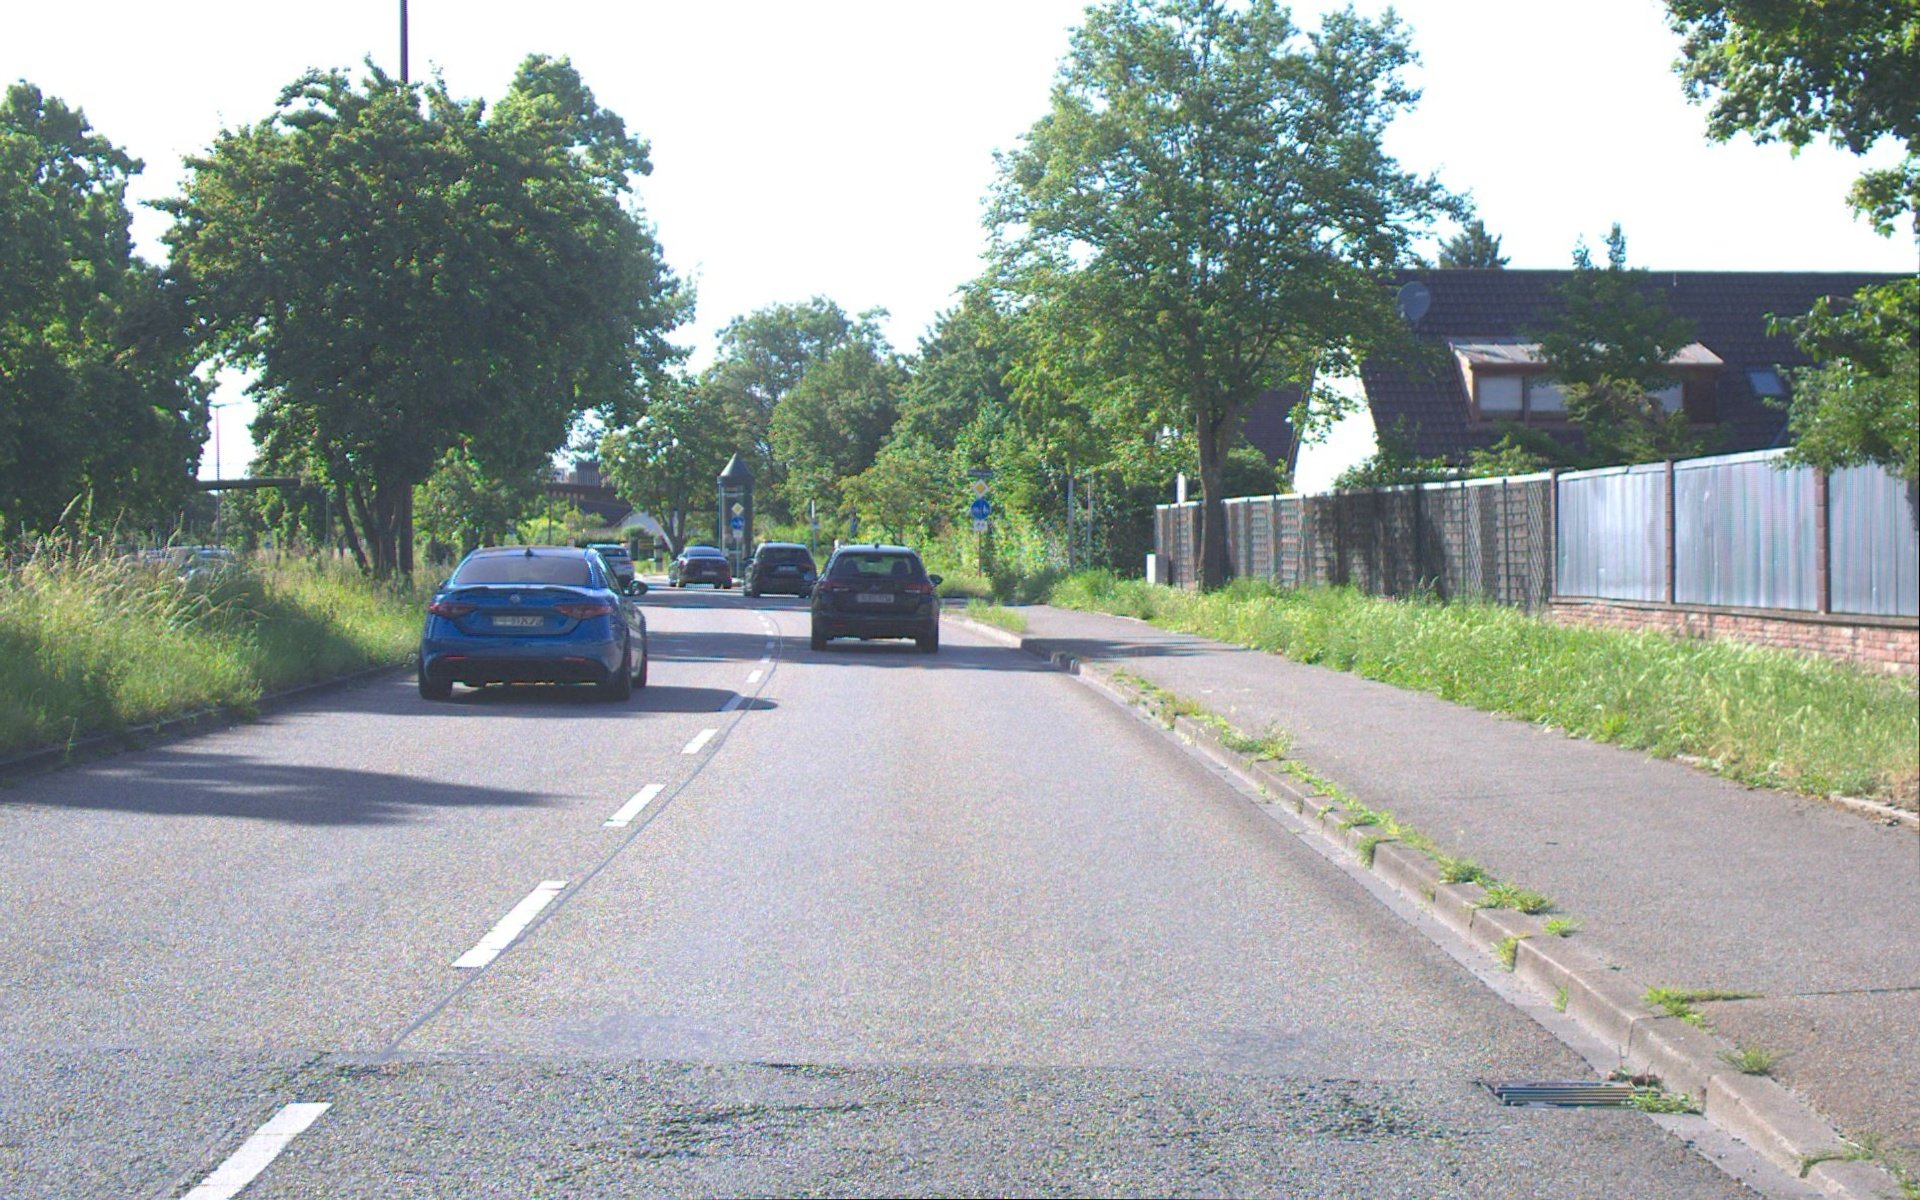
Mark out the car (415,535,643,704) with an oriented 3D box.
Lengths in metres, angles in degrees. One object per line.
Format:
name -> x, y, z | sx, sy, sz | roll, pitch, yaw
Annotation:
car -> -4.002, 0.177, 32.479 | 1.838, 1.469, 4.185 | 1, 0, -3

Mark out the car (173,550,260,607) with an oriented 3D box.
car -> -20.896, -0.620, 96.729 | 1.669, 1.462, 4.180 | -2, 1, -3

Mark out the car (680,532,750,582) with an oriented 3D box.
car -> -8.574, -1.495, 119.833 | 1.915, 1.672, 4.014 | 1, 1, -11

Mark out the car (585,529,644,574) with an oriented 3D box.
car -> -11.665, -1.654, 116.321 | 1.915, 1.507, 4.068 | 0, 1, -5

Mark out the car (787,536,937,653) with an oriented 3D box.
car -> -1.427, -0.114, 48.624 | 1.915, 1.574, 4.183 | 0, 1, -4

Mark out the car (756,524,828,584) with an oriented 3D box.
car -> -4.702, -1.283, 95.794 | 1.915, 1.574, 4.183 | 1, 1, -3
